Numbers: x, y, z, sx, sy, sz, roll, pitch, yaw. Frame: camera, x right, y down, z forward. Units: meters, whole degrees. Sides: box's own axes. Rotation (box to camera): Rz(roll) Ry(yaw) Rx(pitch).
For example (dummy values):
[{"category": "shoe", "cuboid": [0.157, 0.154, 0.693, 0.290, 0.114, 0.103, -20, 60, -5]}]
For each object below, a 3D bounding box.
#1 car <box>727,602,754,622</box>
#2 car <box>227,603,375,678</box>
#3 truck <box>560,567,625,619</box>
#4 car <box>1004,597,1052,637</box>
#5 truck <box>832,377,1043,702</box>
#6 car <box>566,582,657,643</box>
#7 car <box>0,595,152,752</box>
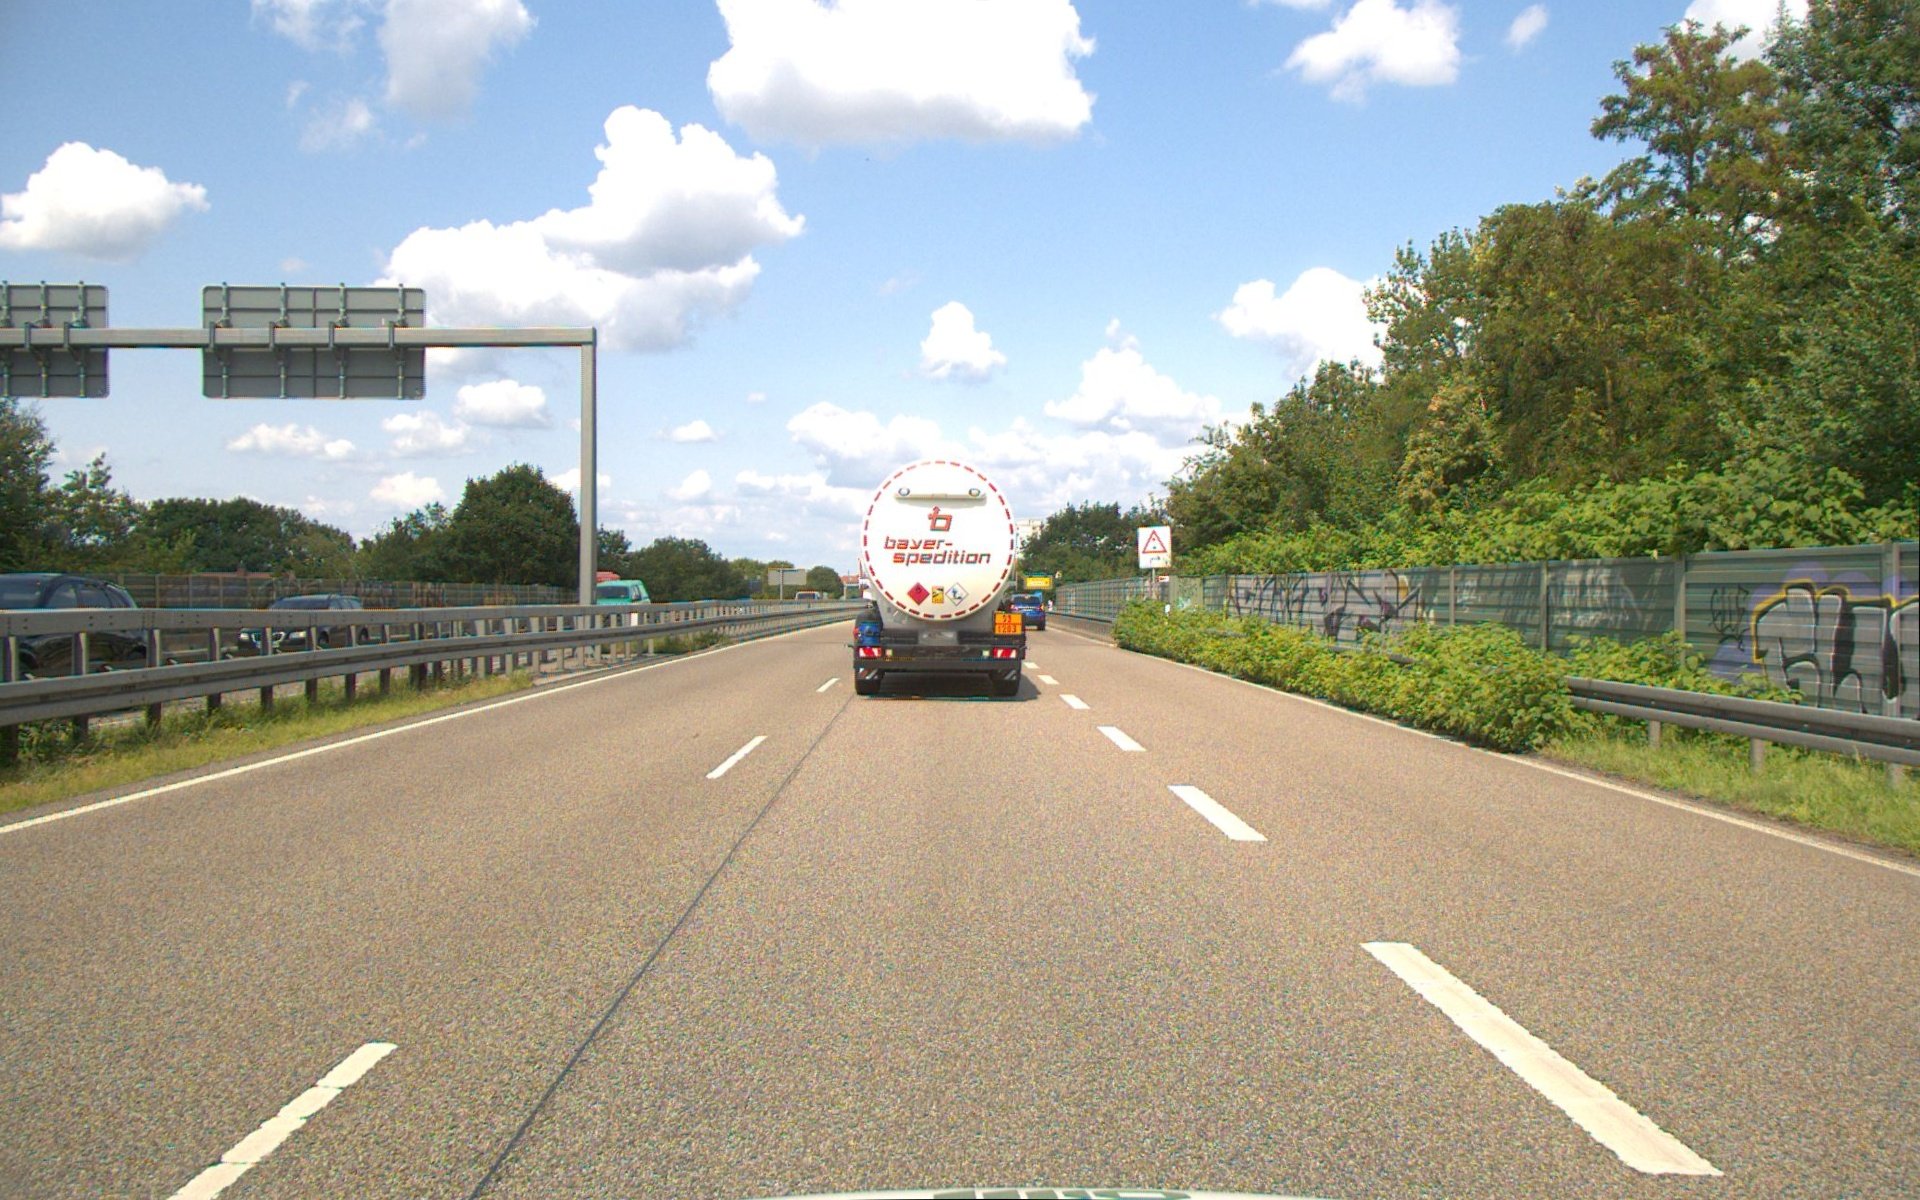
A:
[{"category": "car", "cuboid": [-16.608, 0.879, 125.414, 1.655, 1.456, 4.400, 1, 0, -3]}, {"category": "car", "cuboid": [-15.227, 0.894, 38.475, 1.667, 1.602, 4.555, 1, 0, -1]}, {"category": "truck", "cuboid": [-28.571, -0.539, 128.507, 2.628, 3.848, 6.152, 2, -1, -36]}, {"category": "car", "cuboid": [3.114, 0.774, 76.192, 1.953, 1.736, 3.999, 1, 0, -1]}, {"category": "truck", "cuboid": [-0.364, -0.813, 26.905, 2.836, 4.445, 8.027, 1, 0, -1]}, {"category": "car", "cuboid": [-11.559, 0.402, 55.145, 1.953, 1.896, 5.391, 1, 0, -1]}, {"category": "car", "cuboid": [-10.953, 0.755, 18.381, 1.953, 1.625, 4.131, 1, 0, -1]}]
